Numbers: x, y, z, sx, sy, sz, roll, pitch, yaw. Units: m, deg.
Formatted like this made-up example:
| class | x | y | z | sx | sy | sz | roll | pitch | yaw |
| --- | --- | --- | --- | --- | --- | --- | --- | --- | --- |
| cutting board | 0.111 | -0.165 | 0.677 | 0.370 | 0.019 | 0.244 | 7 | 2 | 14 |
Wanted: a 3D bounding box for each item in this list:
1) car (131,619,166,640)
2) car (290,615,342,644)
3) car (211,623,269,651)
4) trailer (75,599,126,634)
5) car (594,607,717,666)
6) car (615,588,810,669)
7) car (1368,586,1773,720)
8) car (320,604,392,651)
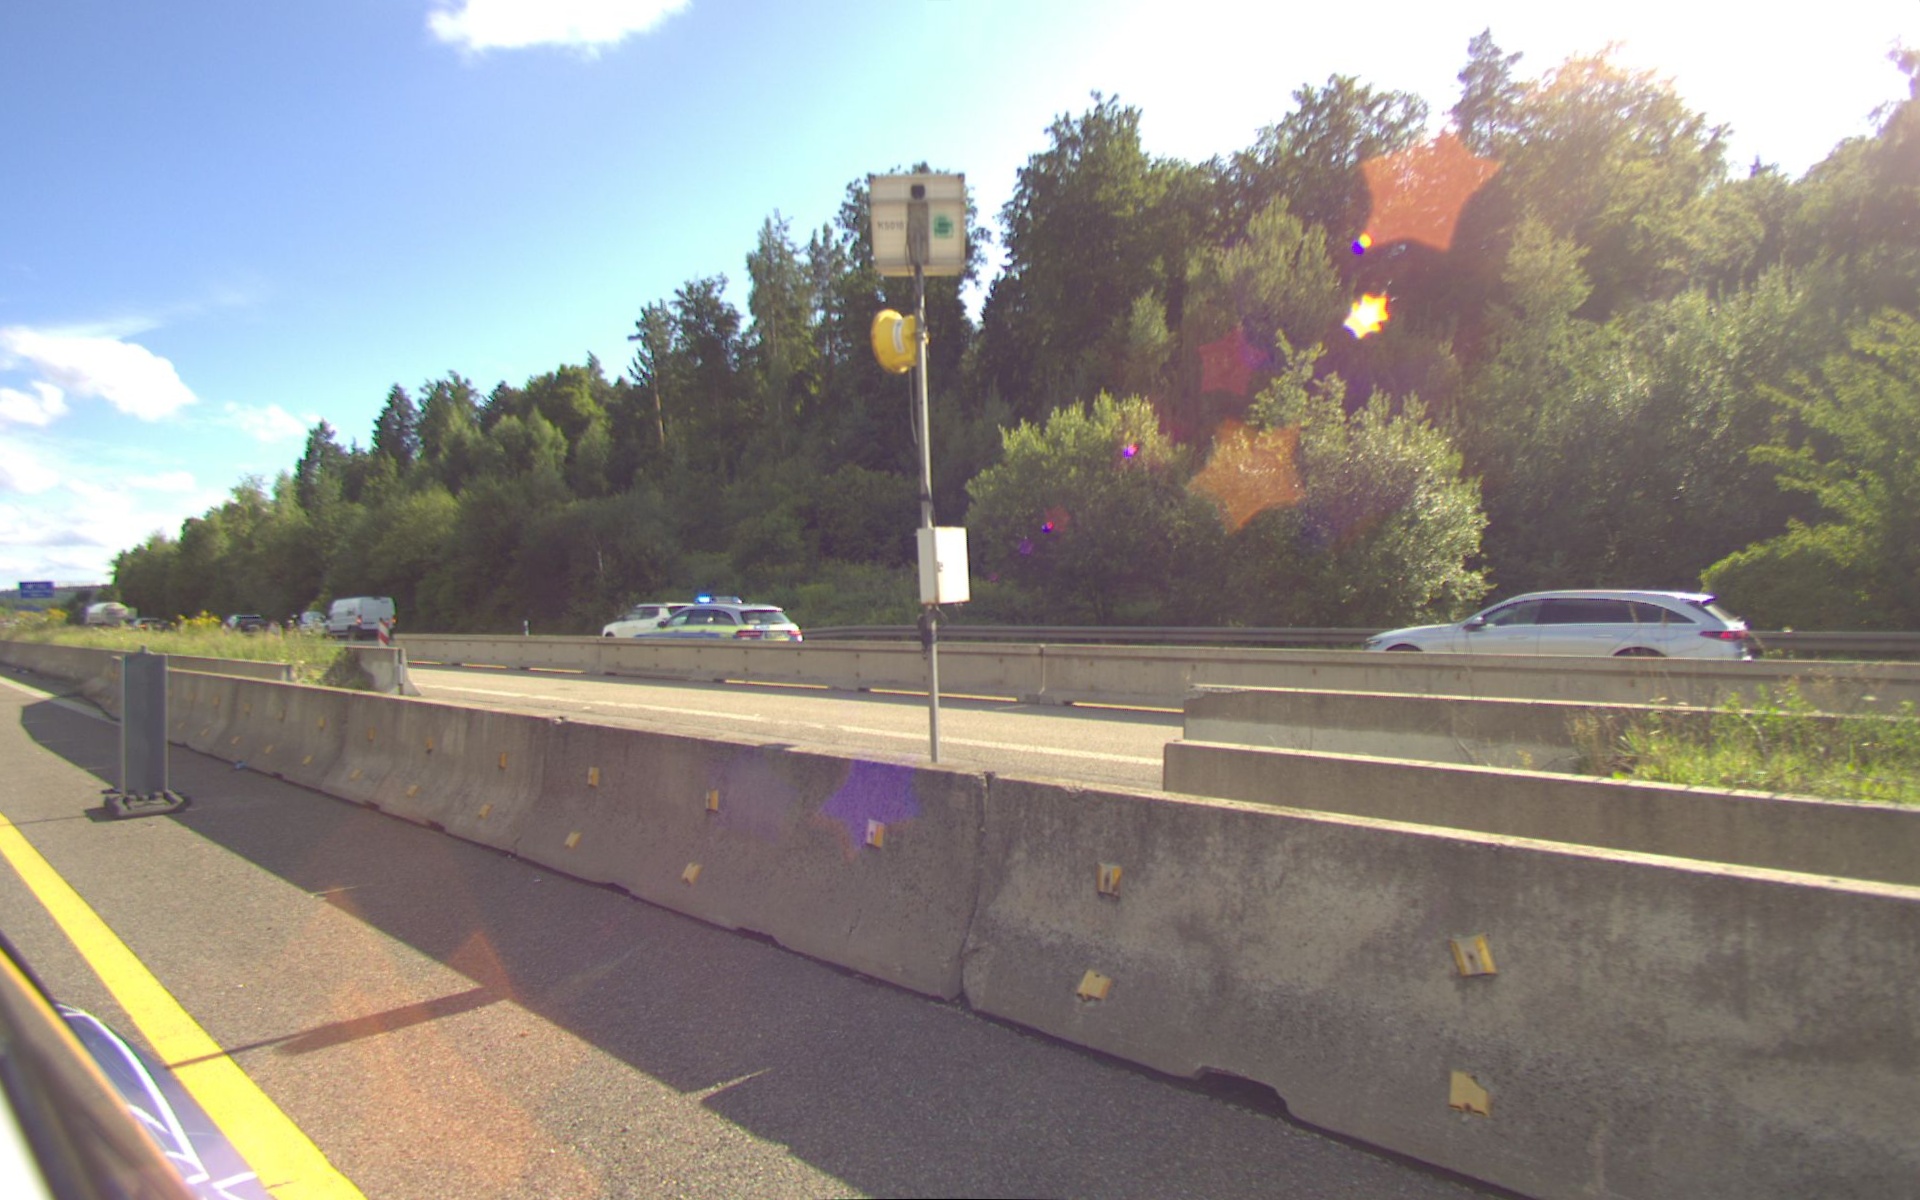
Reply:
| class | x | y | z | sx | sy | sz | roll | pitch | yaw |
| --- | --- | --- | --- | --- | --- | --- | --- | --- | --- |
| car | -68.535 | 2.474 | 85.486 | 4.018 | 1.614 | 1.759 | -1 | 0 | 43 |
| car | -43.507 | 1.988 | 68.329 | 4.762 | 1.867 | 1.840 | -1 | 0 | 43 |
| car | -44.370 | 2.241 | 62.365 | 4.480 | 1.600 | 1.938 | -1 | 0 | 41 |
| trailer | -91.429 | 1.802 | 107.572 | 11.111 | 3.516 | 2.772 | -1 | 0 | 43 |
| car | -9.183 | 1.057 | 30.362 | 4.018 | 1.614 | 1.759 | -1 | 0 | 43 |
| car | -5.533 | 0.598 | 22.322 | 4.672 | 1.614 | 1.760 | -1 | 0 | 40 |
| car | 8.514 | 0.660 | 14.430 | 4.676 | 1.614 | 1.759 | -1 | 0 | 43 |
| car | -36.430 | 1.632 | 60.939 | 6.522 | 2.705 | 2.006 | -1 | 0 | 43 |
